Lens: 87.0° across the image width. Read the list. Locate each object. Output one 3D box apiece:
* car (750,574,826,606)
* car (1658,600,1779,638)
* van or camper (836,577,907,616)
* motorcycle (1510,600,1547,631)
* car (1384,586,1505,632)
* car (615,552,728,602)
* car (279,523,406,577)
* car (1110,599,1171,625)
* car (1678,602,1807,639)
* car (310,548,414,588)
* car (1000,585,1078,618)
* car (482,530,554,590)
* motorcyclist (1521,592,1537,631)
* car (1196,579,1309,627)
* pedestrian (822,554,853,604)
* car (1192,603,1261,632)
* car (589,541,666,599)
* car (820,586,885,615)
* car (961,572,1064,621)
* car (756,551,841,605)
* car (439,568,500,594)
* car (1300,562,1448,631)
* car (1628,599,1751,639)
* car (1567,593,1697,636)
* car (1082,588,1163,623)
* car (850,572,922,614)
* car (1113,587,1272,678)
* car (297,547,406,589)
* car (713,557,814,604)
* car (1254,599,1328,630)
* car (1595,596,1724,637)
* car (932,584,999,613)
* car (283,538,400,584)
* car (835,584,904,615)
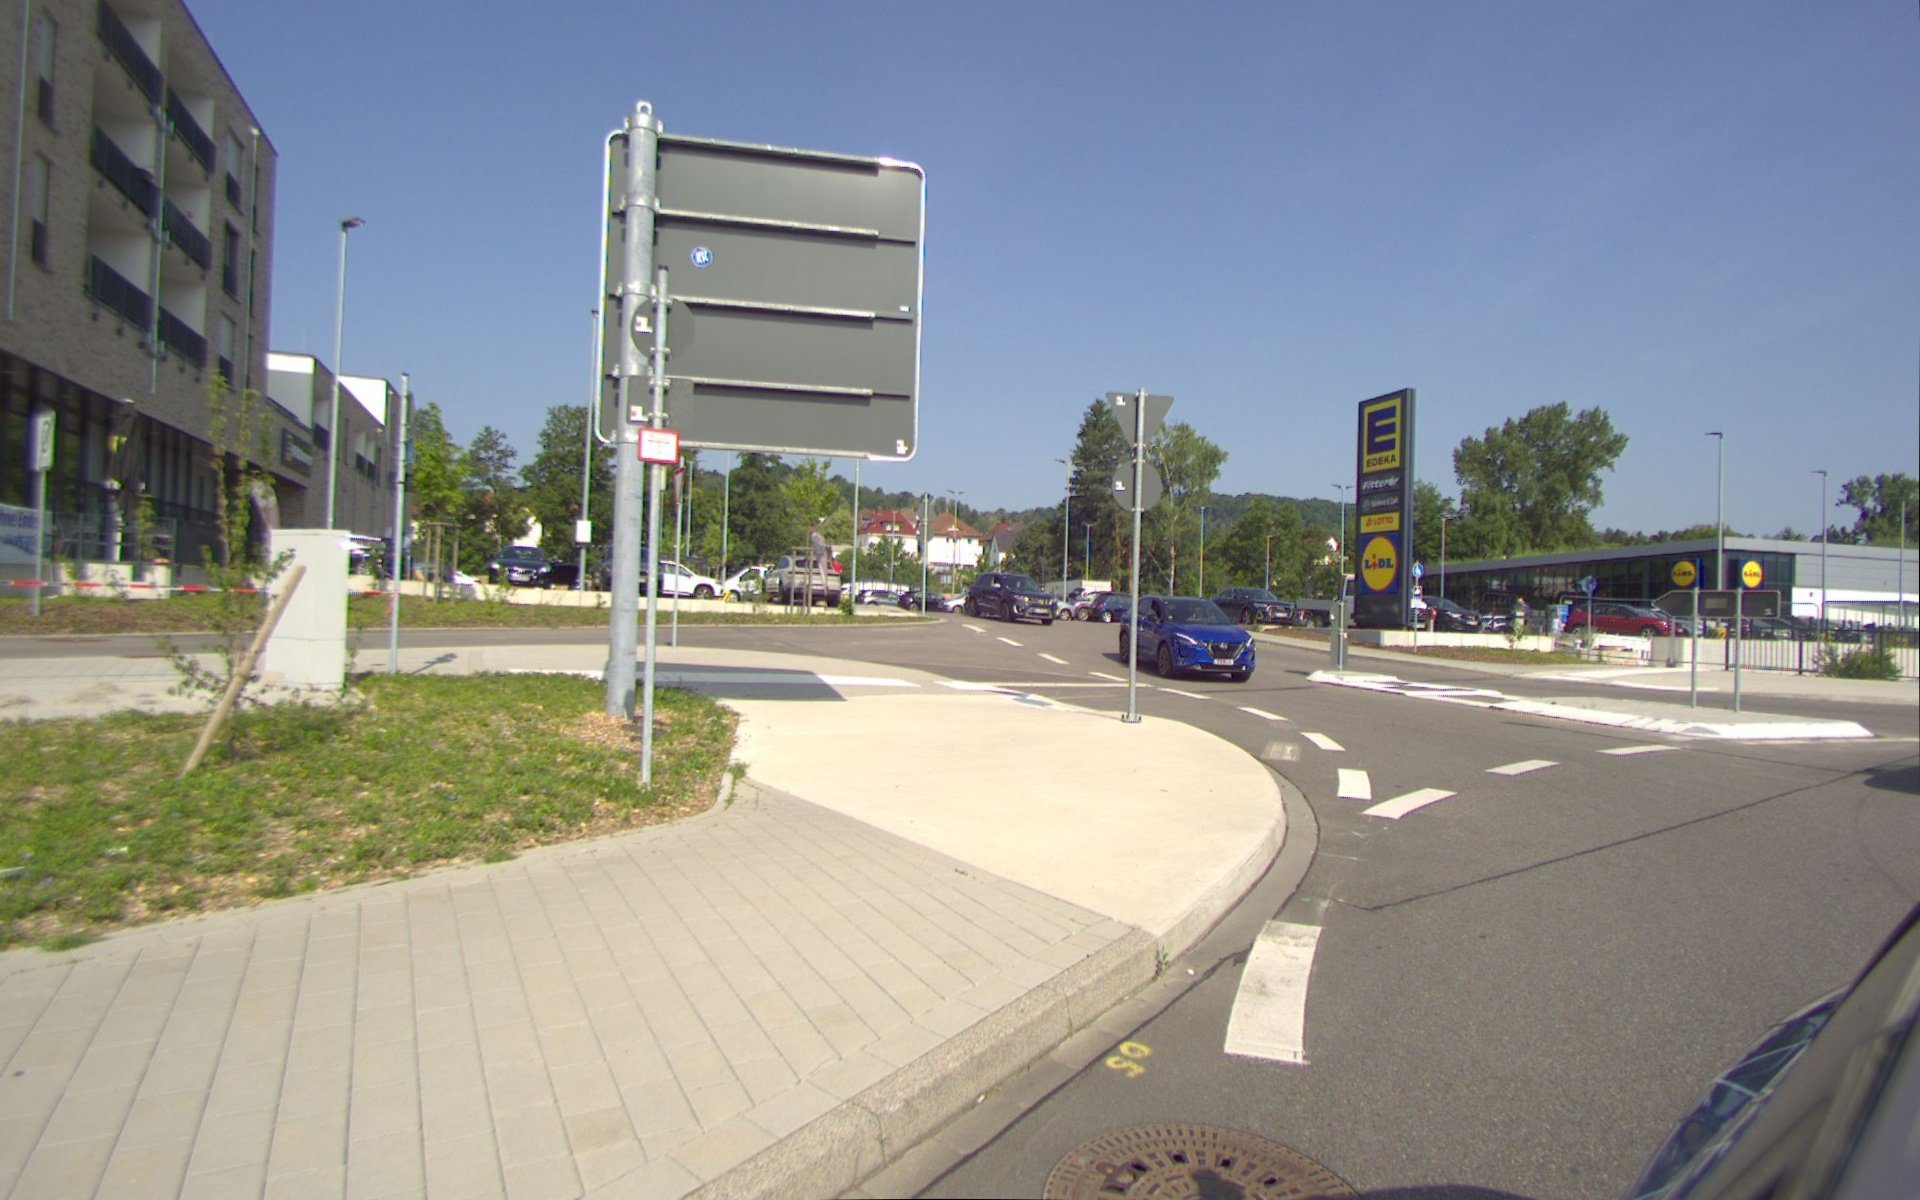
[{"bbox_3d":[-8.341,-0.458,49.007,3.265,1.368,1.629,1,-2,-29],"label":"car"},{"bbox_3d":[33.884,0.892,45.294,1.672,1.595,3.996,3,-4,-37],"label":"car"},{"bbox_3d":[-7.112,-0.226,81.323,5.174,2.885,2.298,2,-3,-21],"label":"van or camper"},{"bbox_3d":[23.092,0.633,41.133,0.580,1.206,1.899,2,-2,6],"label":"motorcycle"},{"bbox_3d":[19.375,0.417,40.718,1.794,1.623,4.484,2,-3,-17],"label":"car"},{"bbox_3d":[-12.551,-0.968,44.051,4.482,1.904,2.004,2,-2,-22],"label":"car"},{"bbox_3d":[-19.299,-1.527,31.772,3.264,1.368,1.492,2,-4,-28],"label":"car"},{"bbox_3d":[12.325,0.830,69.086,3.707,1.595,1.766,2,-3,-20],"label":"car"},{"bbox_3d":[36.020,0.999,46.707,1.672,1.595,4.412,3,-4,-37],"label":"car"},{"bbox_3d":[-23.967,-1.263,40.684,3.262,1.368,1.586,2,-3,-17],"label":"car"},{"bbox_3d":[3.928,0.096,50.341,3.555,1.464,1.528,2,-3,-19],"label":"car"},{"bbox_3d":[-13.615,-1.217,31.243,1.819,1.575,4.470,4,0,-23],"label":"car"},{"bbox_3d":[23.387,0.487,41.608,0.511,1.563,0.575,-1,-4,32],"label":"motorcyclist"},{"bbox_3d":[11.078,0.176,38.754,1.882,1.550,4.868,2,-3,-15],"label":"car"},{"bbox_3d":[-4.487,-0.762,37.095,0.749,1.764,0.873,-1,-4,24],"label":"pedestrian"},{"bbox_3d":[16.281,1.088,61.838,3.707,1.595,1.766,2,-3,-20],"label":"car"},{"bbox_3d":[-10.660,-0.971,32.238,1.819,1.575,4.470,4,0,-23],"label":"car"},{"bbox_3d":[-8.147,0.060,76.688,4.549,2.002,2.003,2,-3,-21],"label":"car"},{"bbox_3d":[1.667,-0.156,33.776,1.609,1.410,4.239,2,1,-24],"label":"car"},{"bbox_3d":[-5.614,-0.787,34.635,1.819,1.575,4.833,4,0,-21],"label":"car"},{"bbox_3d":[-30.159,-1.138,62.221,3.265,1.368,1.628,3,-4,-30],"label":"car"},{"bbox_3d":[16.377,-0.039,40.486,2.017,2.415,6.101,2,-3,-17],"label":"car"},{"bbox_3d":[31.543,0.861,43.841,1.672,1.595,3.996,3,-4,-37],"label":"car"},{"bbox_3d":[27.127,0.645,40.991,1.745,1.595,4.021,3,-4,-34],"label":"car"},{"bbox_3d":[8.351,0.299,52.060,3.707,1.595,1.766,2,-3,-20],"label":"car"},{"bbox_3d":[-5.144,-0.439,70.187,4.549,2.652,2.003,2,-3,-21],"label":"car"},{"bbox_3d":[4.806,0.604,21.639,1.848,1.684,4.361,1,1,-8],"label":"car"},{"bbox_3d":[-23.334,-1.214,38.924,3.262,1.368,1.550,2,-3,-18],"label":"car"},{"bbox_3d":[-9.892,-0.952,51.063,4.554,2.040,2.001,3,-4,-31],"label":"car"},{"bbox_3d":[18.519,0.828,56.712,3.707,1.595,1.669,2,-3,-20],"label":"car"},{"bbox_3d":[29.026,0.732,42.097,1.745,1.595,4.021,3,-4,-34],"label":"car"},{"bbox_3d":[0.314,-0.056,58.058,3.555,1.464,1.528,2,-3,-19],"label":"car"},{"bbox_3d":[-21.951,-1.351,36.037,3.262,1.368,1.493,2,-3,-20],"label":"car"},{"bbox_3d":[-6.493,-0.036,72.896,4.549,2.002,2.003,2,-3,-21],"label":"car"}]
